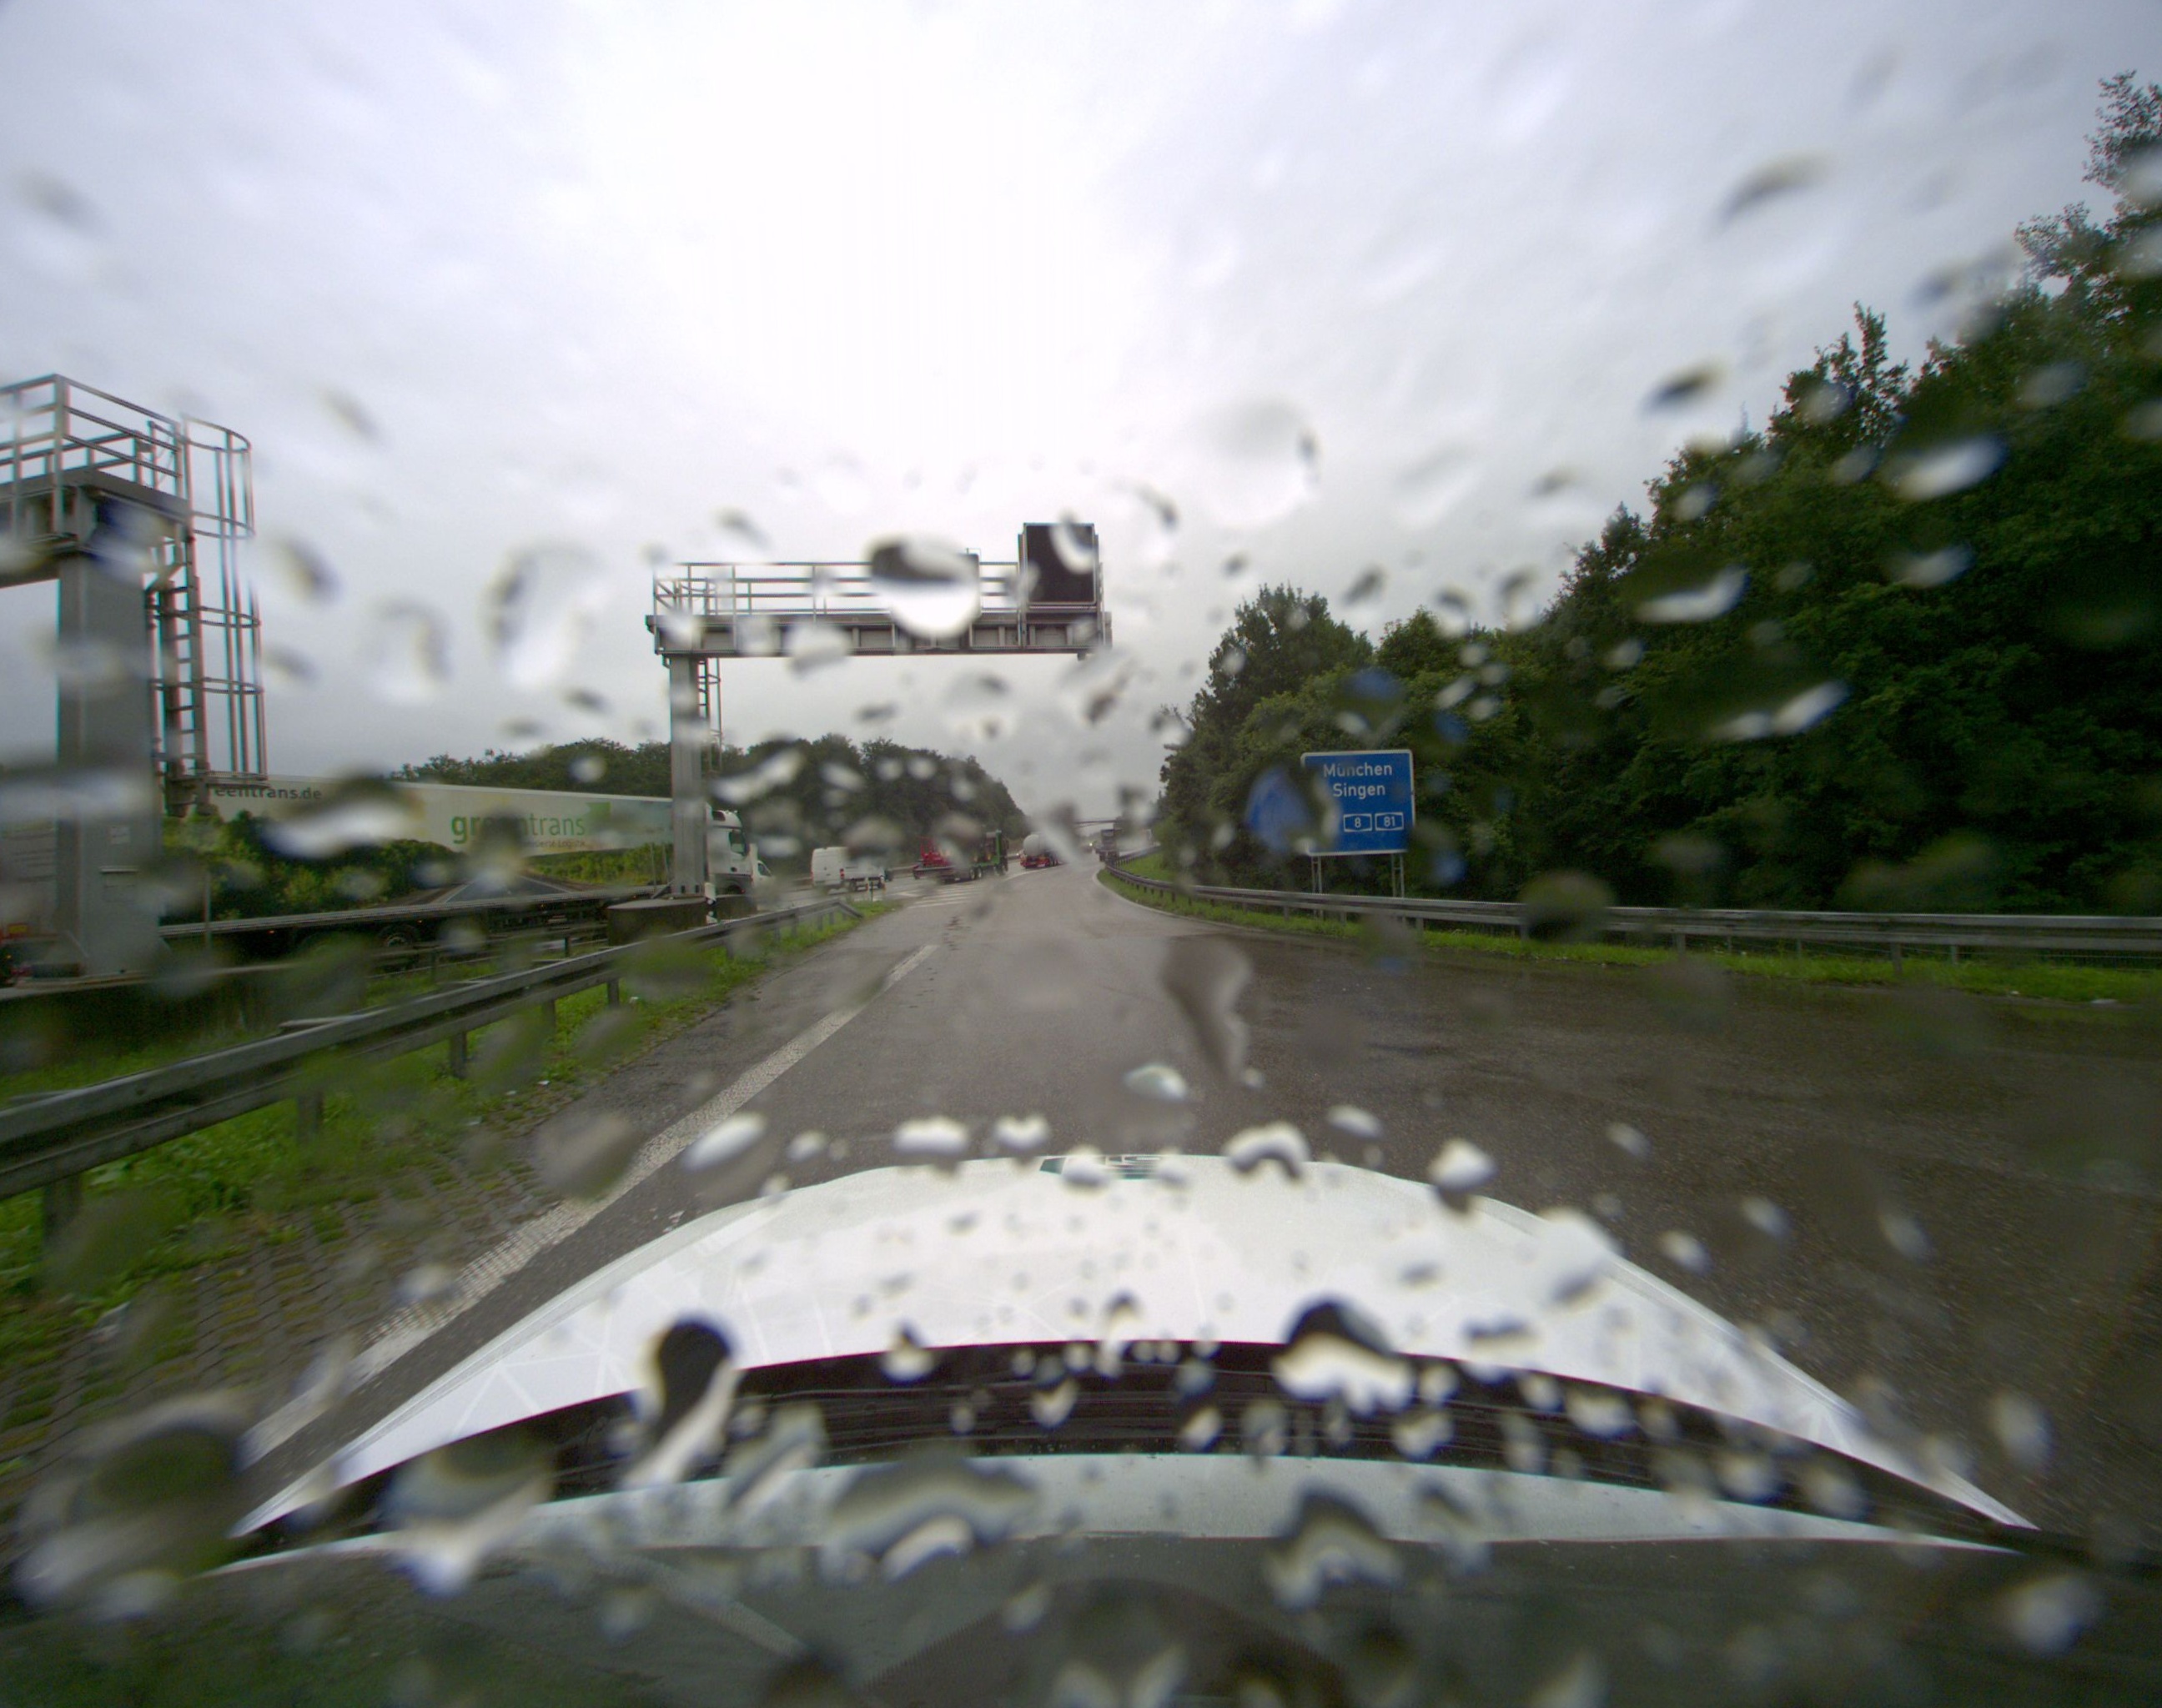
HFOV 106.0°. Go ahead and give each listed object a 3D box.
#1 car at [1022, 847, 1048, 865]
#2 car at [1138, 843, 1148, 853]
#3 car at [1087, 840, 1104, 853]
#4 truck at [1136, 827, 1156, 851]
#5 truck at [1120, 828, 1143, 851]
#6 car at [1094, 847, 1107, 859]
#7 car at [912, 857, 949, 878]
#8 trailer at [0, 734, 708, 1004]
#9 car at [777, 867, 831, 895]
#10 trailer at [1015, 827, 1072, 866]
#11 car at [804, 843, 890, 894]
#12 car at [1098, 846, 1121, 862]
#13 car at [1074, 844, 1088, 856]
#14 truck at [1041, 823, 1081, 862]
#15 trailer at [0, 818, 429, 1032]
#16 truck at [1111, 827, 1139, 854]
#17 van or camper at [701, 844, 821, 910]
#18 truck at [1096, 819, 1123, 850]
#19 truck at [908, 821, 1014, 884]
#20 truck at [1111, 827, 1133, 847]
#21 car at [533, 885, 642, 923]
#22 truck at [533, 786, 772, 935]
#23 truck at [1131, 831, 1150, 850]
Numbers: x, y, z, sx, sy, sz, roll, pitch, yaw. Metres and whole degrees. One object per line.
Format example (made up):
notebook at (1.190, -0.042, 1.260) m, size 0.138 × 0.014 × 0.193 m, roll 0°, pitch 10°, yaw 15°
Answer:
car at (-4.936, 0.172, 87.779) m, size 1.808 × 1.766 × 4.011 m, roll -3°, pitch 1°, yaw 10°
car at (12.508, -1.282, 164.370) m, size 1.788 × 1.904 × 4.009 m, roll -4°, pitch -1°, yaw 8°
car at (3.690, -1.832, 199.959) m, size 3.227 × 3.002 × 6.790 m, roll 0°, pitch 0°, yaw 9°
truck at (16.161, -3.626, 201.679) m, size 4.313 × 5.763 × 9.749 m, roll 0°, pitch 0°, yaw 7°
truck at (9.679, -2.676, 155.953) m, size 3.487 × 4.268 × 10.627 m, roll 0°, pitch 0°, yaw 8°
car at (3.192, -0.126, 132.856) m, size 1.787 × 1.904 × 4.009 m, roll -1°, pitch 0°, yaw 8°
car at (-12.629, 1.118, 68.437) m, size 1.775 × 1.727 × 4.011 m, roll 0°, pitch 0°, yaw 10°
trailer at (-15.126, 0.204, 19.859) m, size 2.898 × 4.205 × 13.687 m, roll -4°, pitch 0°, yaw 14°
car at (-20.040, 1.931, 59.041) m, size 1.764 × 1.706 × 4.014 m, roll -4°, pitch 0°, yaw 13°
trailer at (-3.393, -0.809, 77.518) m, size 2.854 × 3.288 × 10.112 m, roll -4°, pitch 1°, yaw 12°
car at (-13.567, 0.772, 47.714) m, size 2.200 × 2.629 × 5.864 m, roll -4°, pitch 0°, yaw 12°
car at (3.014, 0.048, 86.049) m, size 1.982 × 1.636 × 4.009 m, roll 0°, pitch 0°, yaw 8°
car at (0.052, -0.616, 140.496) m, size 1.787 × 1.904 × 4.010 m, roll -4°, pitch -1°, yaw 9°
truck at (-2.016, -1.229, 84.167) m, size 2.858 × 3.693 × 5.074 m, roll -4°, pitch 1°, yaw 12°
trailer at (-20.674, 1.351, 15.732) m, size 2.609 × 3.863 × 13.725 m, roll -4°, pitch 0°, yaw 13°
truck at (7.657, -2.348, 139.962) m, size 3.580 × 4.104 × 11.585 m, roll -4°, pitch 1°, yaw 7°
van or camper at (-17.693, 1.152, 45.595) m, size 2.562 × 3.204 × 7.154 m, roll -4°, pitch 0°, yaw 12°
truck at (5.511, -3.579, 153.863) m, size 3.732 × 5.499 × 10.199 m, roll 0°, pitch 0°, yaw 9°
truck at (-7.753, -0.201, 54.892) m, size 2.812 × 3.588 × 11.838 m, roll -4°, pitch 0°, yaw 12°
truck at (9.449, -3.749, 186.200) m, size 3.555 × 4.095 × 10.907 m, roll -3°, pitch -1°, yaw 9°
car at (-24.581, 2.460, 40.799) m, size 1.732 × 1.424 × 4.851 m, roll -4°, pitch 0°, yaw 13°
truck at (-13.530, 0.171, 26.529) m, size 2.898 × 4.099 × 6.744 m, roll -4°, pitch 0°, yaw 13°
truck at (13.034, -2.949, 178.410) m, size 3.736 × 3.970 × 11.076 m, roll 0°, pitch 0°, yaw 6°
